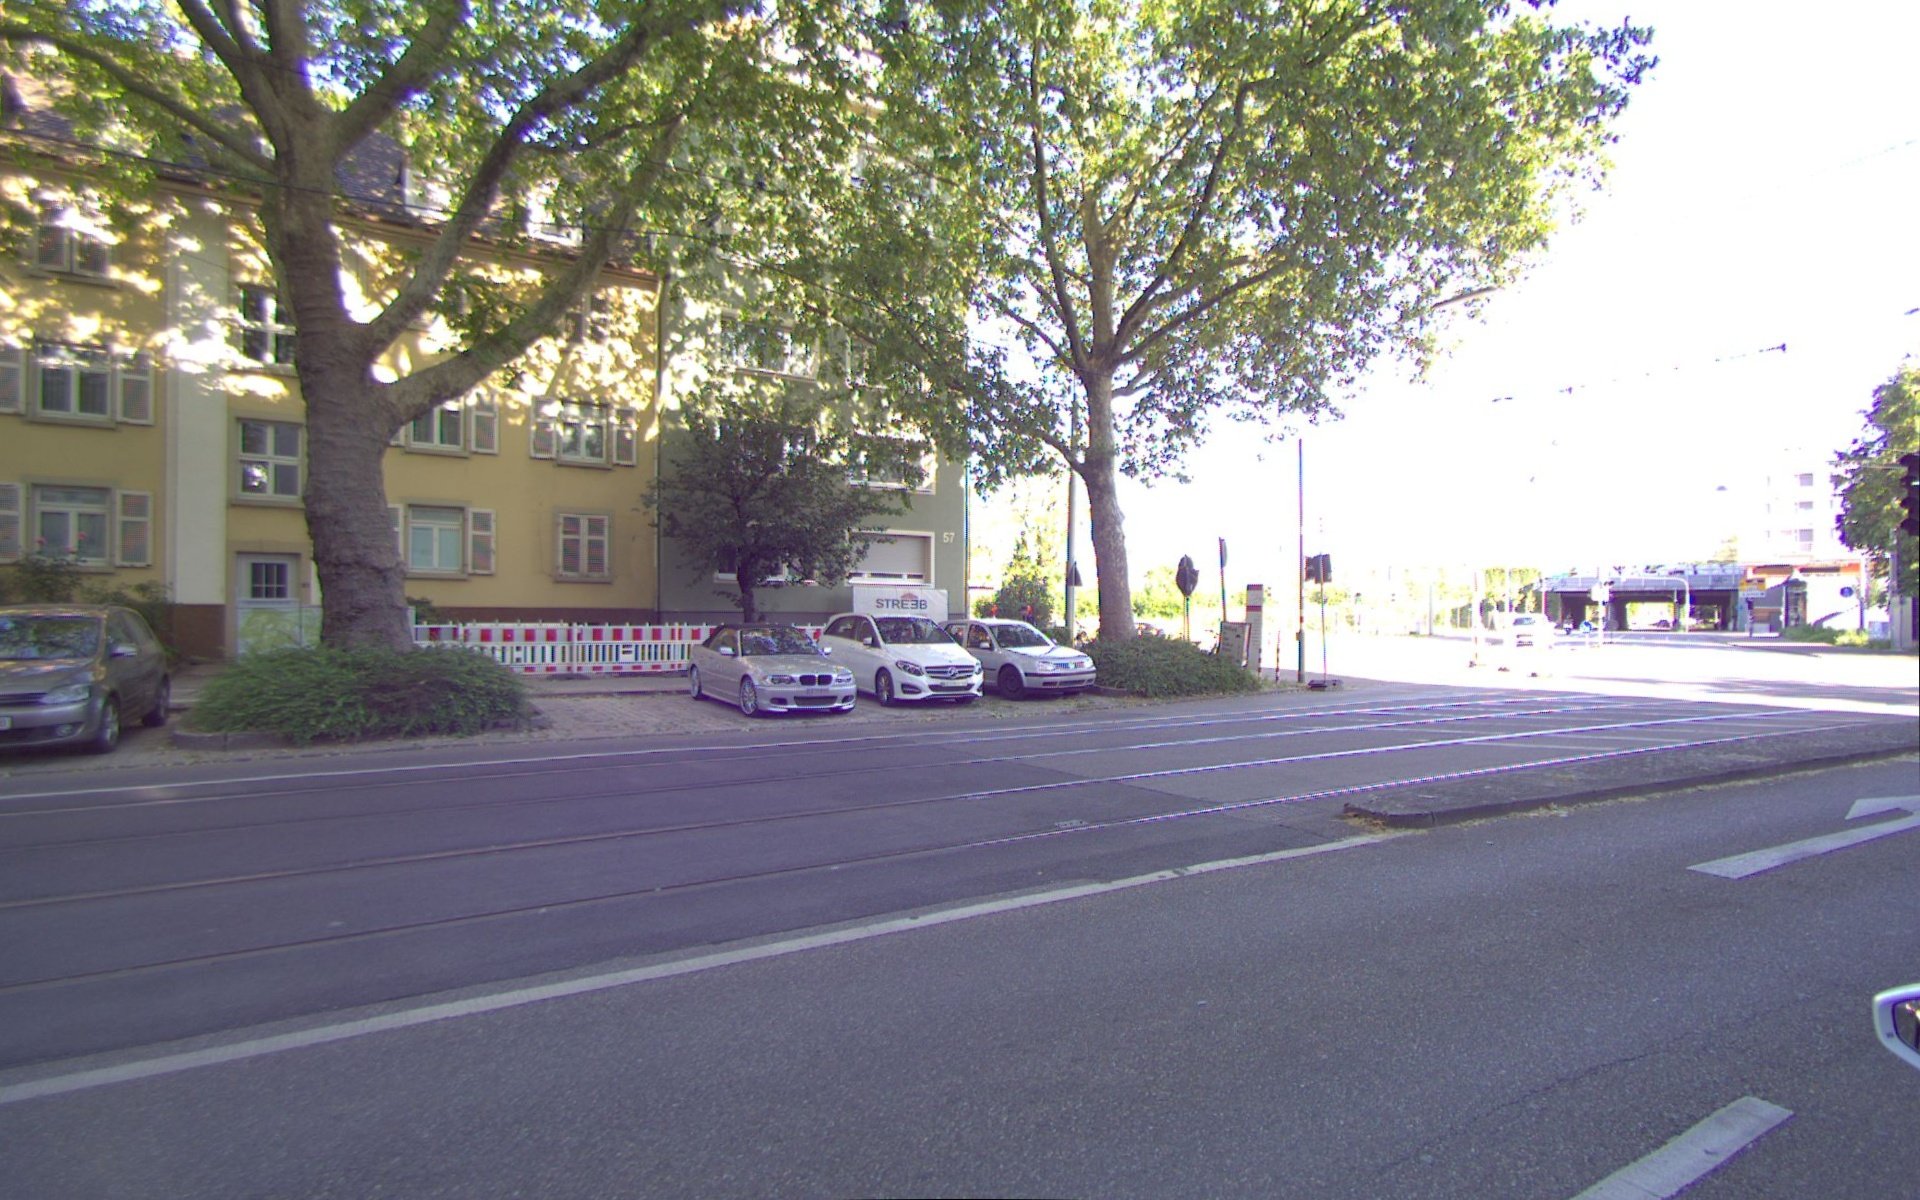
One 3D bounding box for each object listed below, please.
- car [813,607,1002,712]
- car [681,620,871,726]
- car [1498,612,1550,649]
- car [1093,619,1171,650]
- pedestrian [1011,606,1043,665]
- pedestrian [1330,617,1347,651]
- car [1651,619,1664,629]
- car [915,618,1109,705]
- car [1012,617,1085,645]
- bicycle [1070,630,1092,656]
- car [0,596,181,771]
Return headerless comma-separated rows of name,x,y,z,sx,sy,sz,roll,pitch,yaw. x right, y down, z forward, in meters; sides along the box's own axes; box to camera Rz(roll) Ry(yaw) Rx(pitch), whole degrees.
car,-1.082,0.995,18.360,1.823,1.633,4.051,2,0,-30
car,-3.134,1.096,16.456,1.823,1.387,4.051,2,0,-30
car,26.540,1.397,47.377,1.963,1.653,4.625,0,-1,27
car,9.706,1.930,56.757,3.933,1.439,1.888,0,5,34
pedestrian,1.827,0.957,27.494,0.592,1.589,0.741,0,-1,33
pedestrian,18.360,1.659,48.687,0.591,1.617,0.683,2,0,35
car,147.331,5.048,212.195,1.966,2.040,3.989,1,0,33
car,0.910,1.128,19.755,1.688,1.436,3.959,2,0,-36
car,5.300,1.835,60.267,3.933,1.439,1.888,0,5,34
bicycle,3.818,1.348,31.576,0.351,0.769,1.781,0,-1,18
car,-10.422,0.818,11.456,1.823,1.641,4.051,2,0,-30
